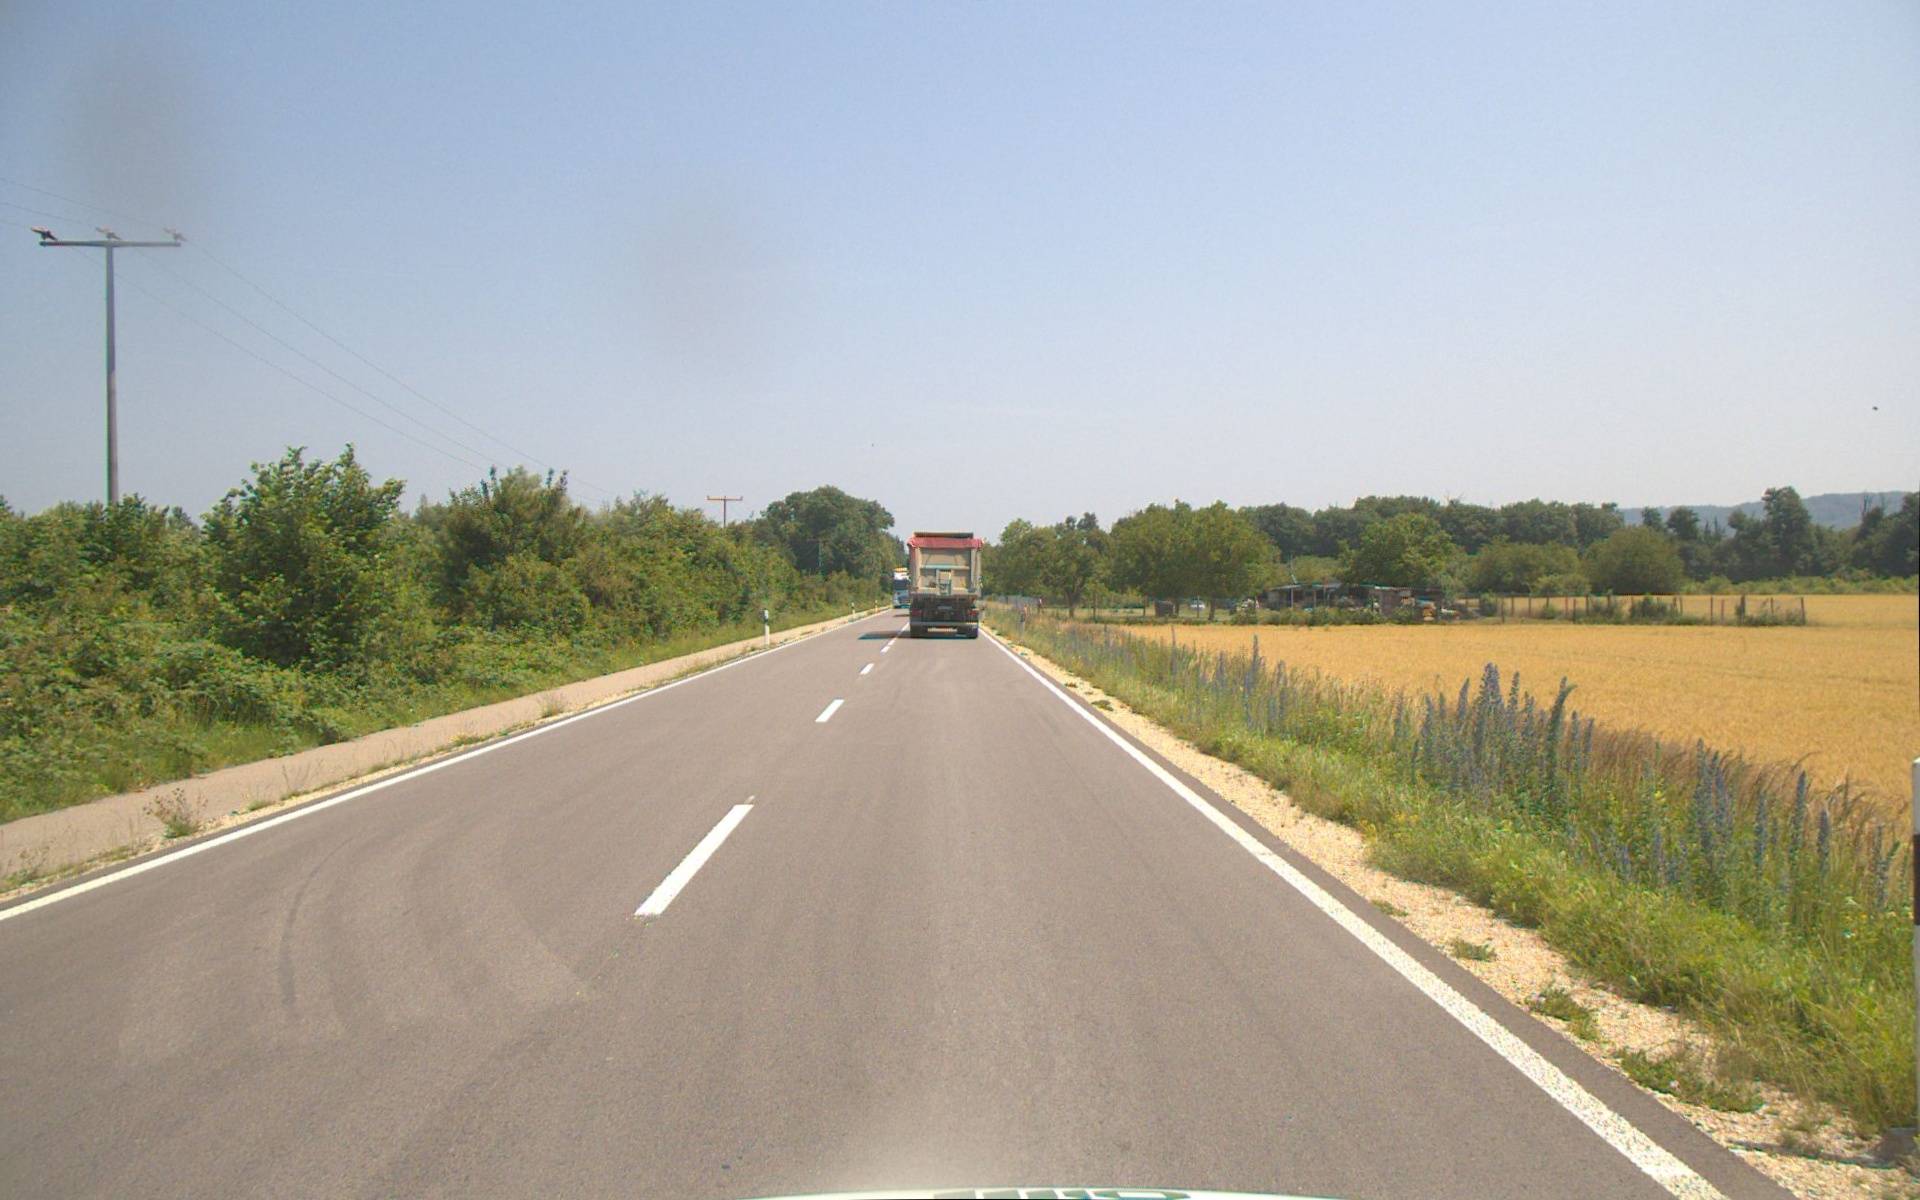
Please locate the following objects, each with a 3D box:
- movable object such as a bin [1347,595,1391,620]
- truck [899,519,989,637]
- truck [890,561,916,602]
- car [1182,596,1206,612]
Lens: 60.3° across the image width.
[{"bbox_3d":[24.979,0.441,101.113,1.540,1.522,3.655,0,0,-5],"label":"movable object such as a bin"},{"bbox_3d":[-0.650,-0.724,62.434,2.948,3.942,12.206,1,0,-1],"label":"truck"},{"bbox_3d":[-6.236,-1.999,182.111,2.662,4.340,7.388,-2,0,-1],"label":"truck"},{"bbox_3d":[24.463,0.412,173.124,1.563,1.512,3.421,0,1,-9],"label":"car"}]
